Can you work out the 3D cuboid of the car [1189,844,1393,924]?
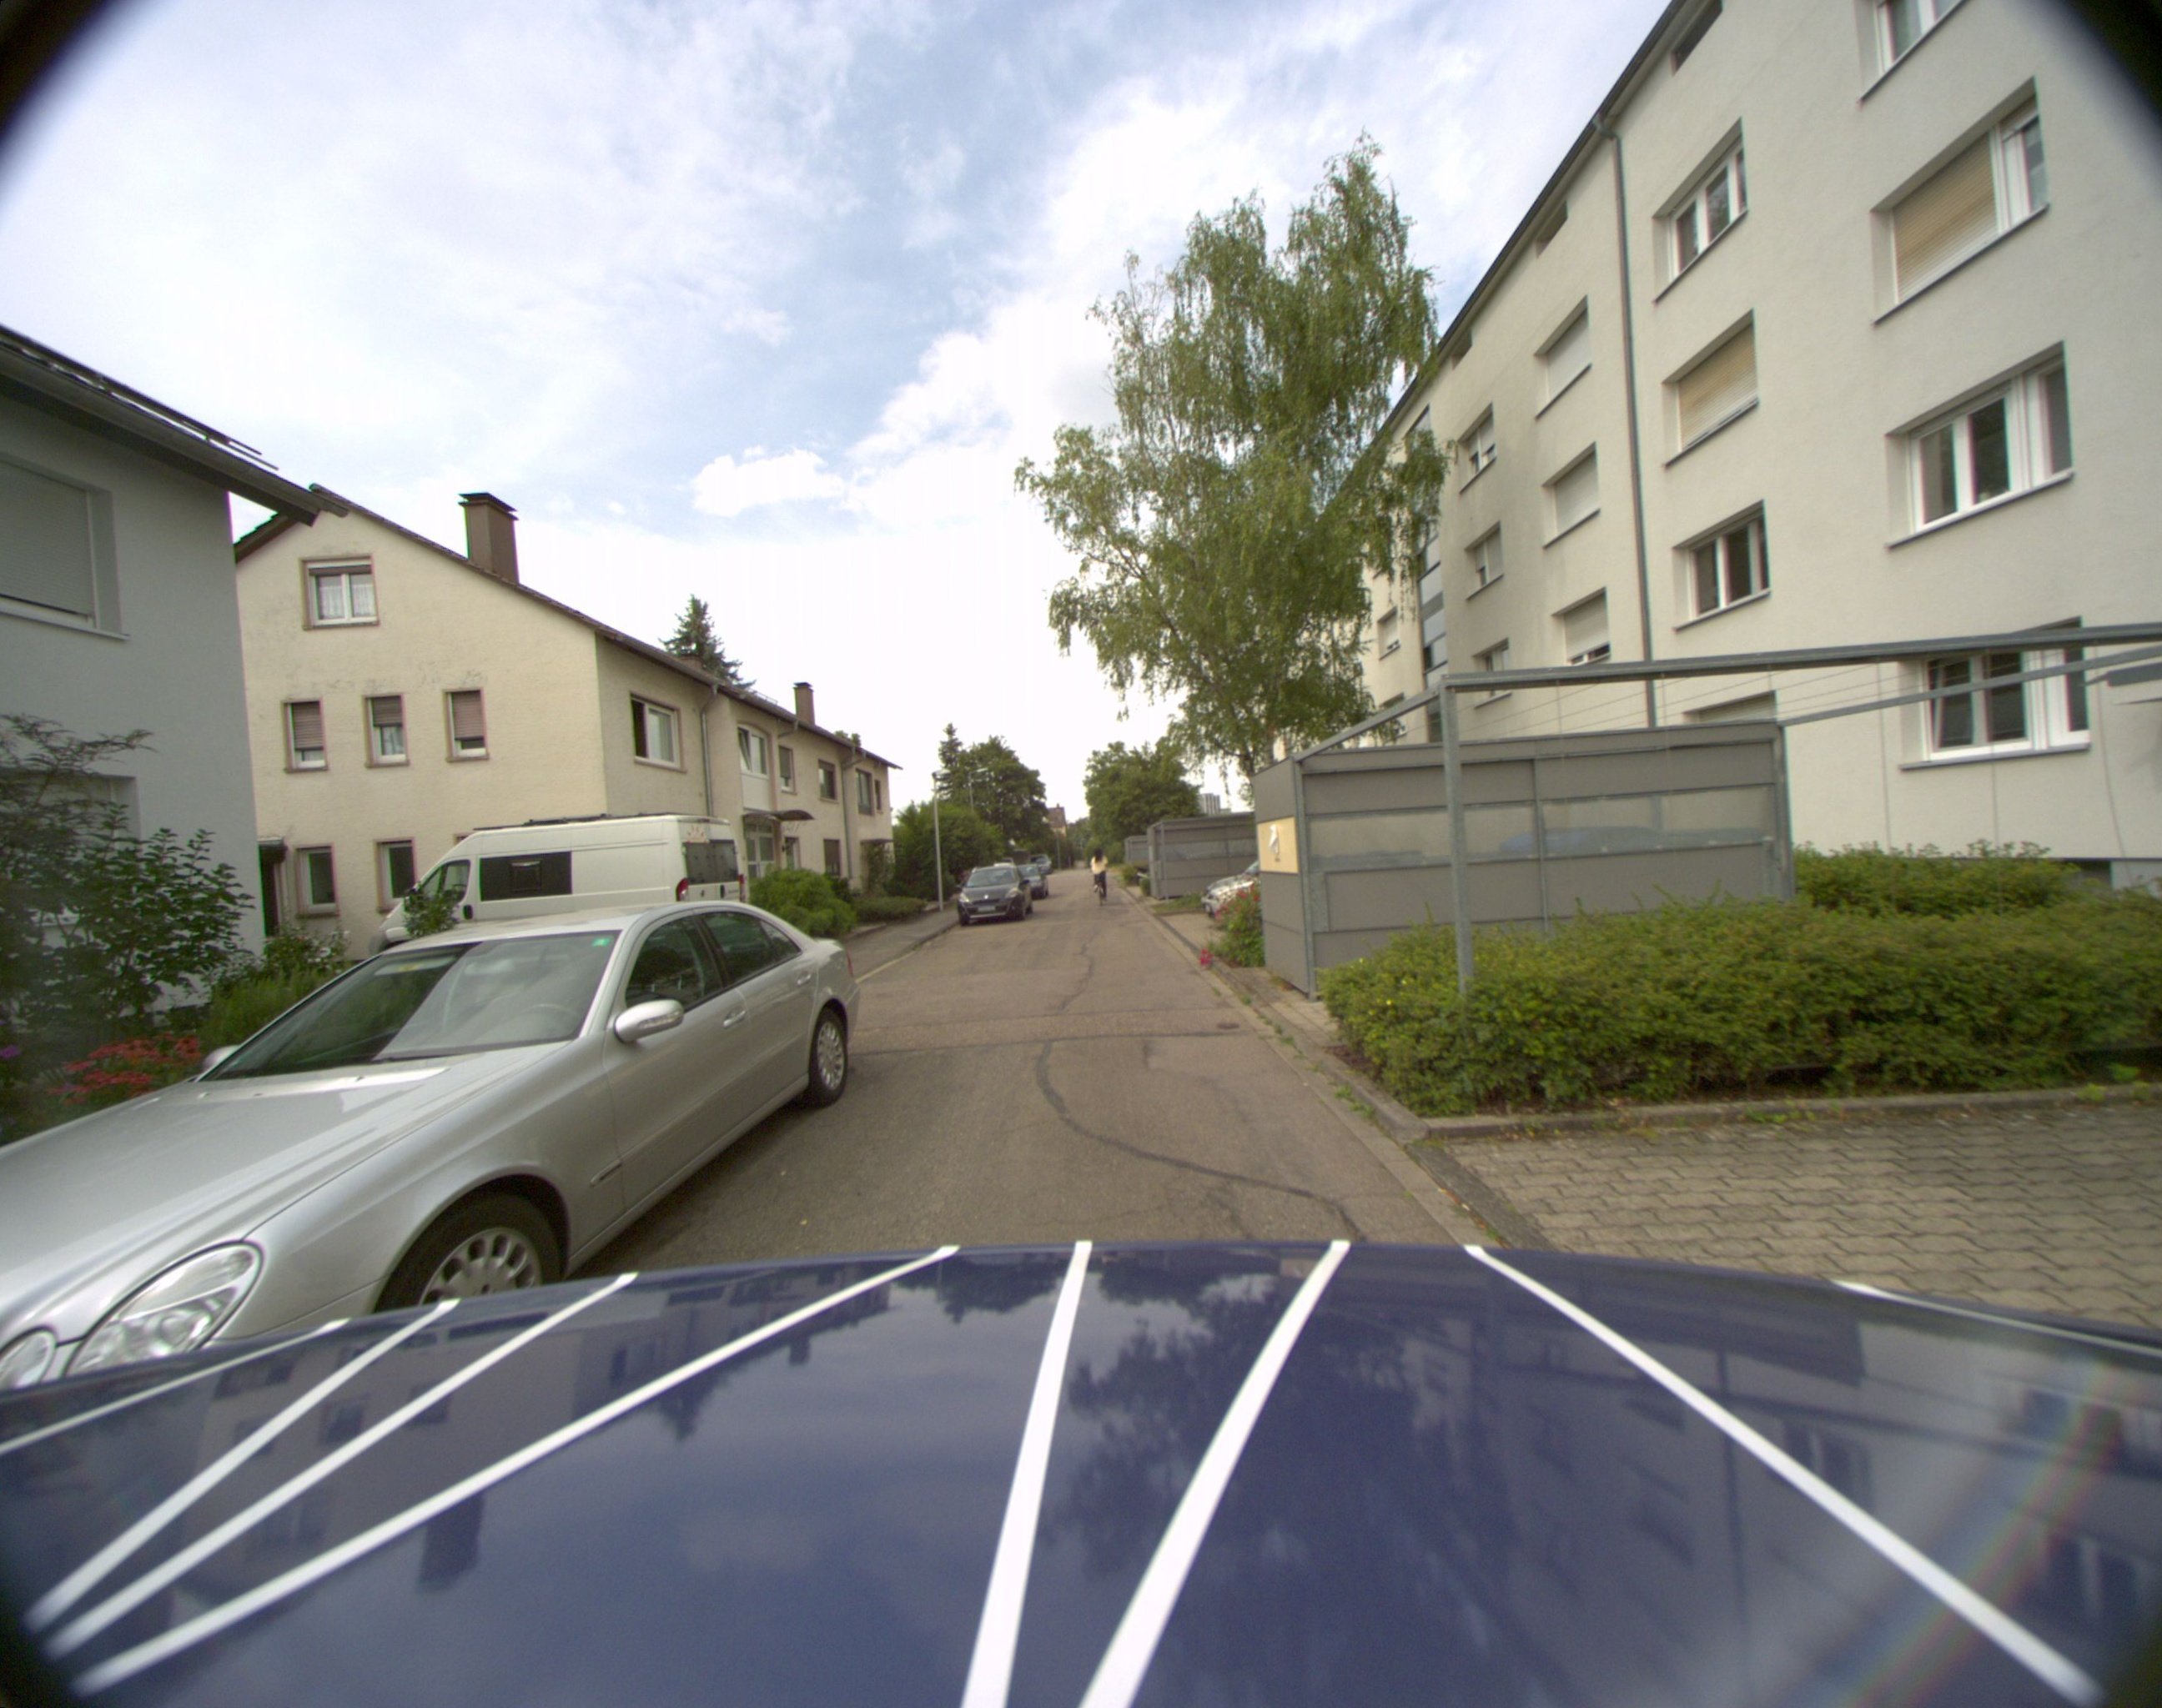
[{"bbox_3d":[4.641,0.637,17.203,4.061,1.496,1.782,-3,0,1],"label":"car"}]

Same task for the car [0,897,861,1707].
[{"bbox_3d":[-2.657,1.115,3.342,1.788,1.412,4.456,-5,0,2],"label":"car"}]

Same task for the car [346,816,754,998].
[{"bbox_3d":[-8.525,0.811,12.615,5.100,2.527,2.238,-3,0,1],"label":"car"}]

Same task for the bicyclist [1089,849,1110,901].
[{"bbox_3d":[0.581,0.652,23.699,0.598,1.571,0.767,-3,1,2],"label":"bicyclist"}]

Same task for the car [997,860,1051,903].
[{"bbox_3d":[-2.268,1.074,31.174,1.834,1.449,4.189,-5,0,-1],"label":"car"}]

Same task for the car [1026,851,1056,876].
[{"bbox_3d":[-2.942,0.670,56.505,1.926,1.576,3.999,-6,0,-2],"label":"car"}]

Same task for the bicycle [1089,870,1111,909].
[{"bbox_3d":[0.613,1.091,23.779,0.598,1.070,2.042,-3,0,2],"label":"bicycle"}]

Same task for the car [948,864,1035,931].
[{"bbox_3d":[-2.329,1.102,20.778,1.834,1.449,4.189,-5,0,-1],"label":"car"}]

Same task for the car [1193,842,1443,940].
[{"bbox_3d":[4.280,0.648,14.202,4.061,1.496,1.782,-3,0,1],"label":"car"}]

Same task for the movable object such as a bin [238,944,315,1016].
[{"bbox_3d":[-11.274,1.755,10.655,0.520,0.920,0.482,-2,1,0],"label":"movable object such as a bin"}]

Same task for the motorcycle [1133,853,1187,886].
[{"bbox_3d":[3.619,0.711,35.129,2.383,1.455,0.714,-2,1,1],"label":"motorcycle"}]

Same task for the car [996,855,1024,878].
[{"bbox_3d":[-5.306,0.934,57.165,1.705,1.458,3.998,-4,2,-2],"label":"car"}]
